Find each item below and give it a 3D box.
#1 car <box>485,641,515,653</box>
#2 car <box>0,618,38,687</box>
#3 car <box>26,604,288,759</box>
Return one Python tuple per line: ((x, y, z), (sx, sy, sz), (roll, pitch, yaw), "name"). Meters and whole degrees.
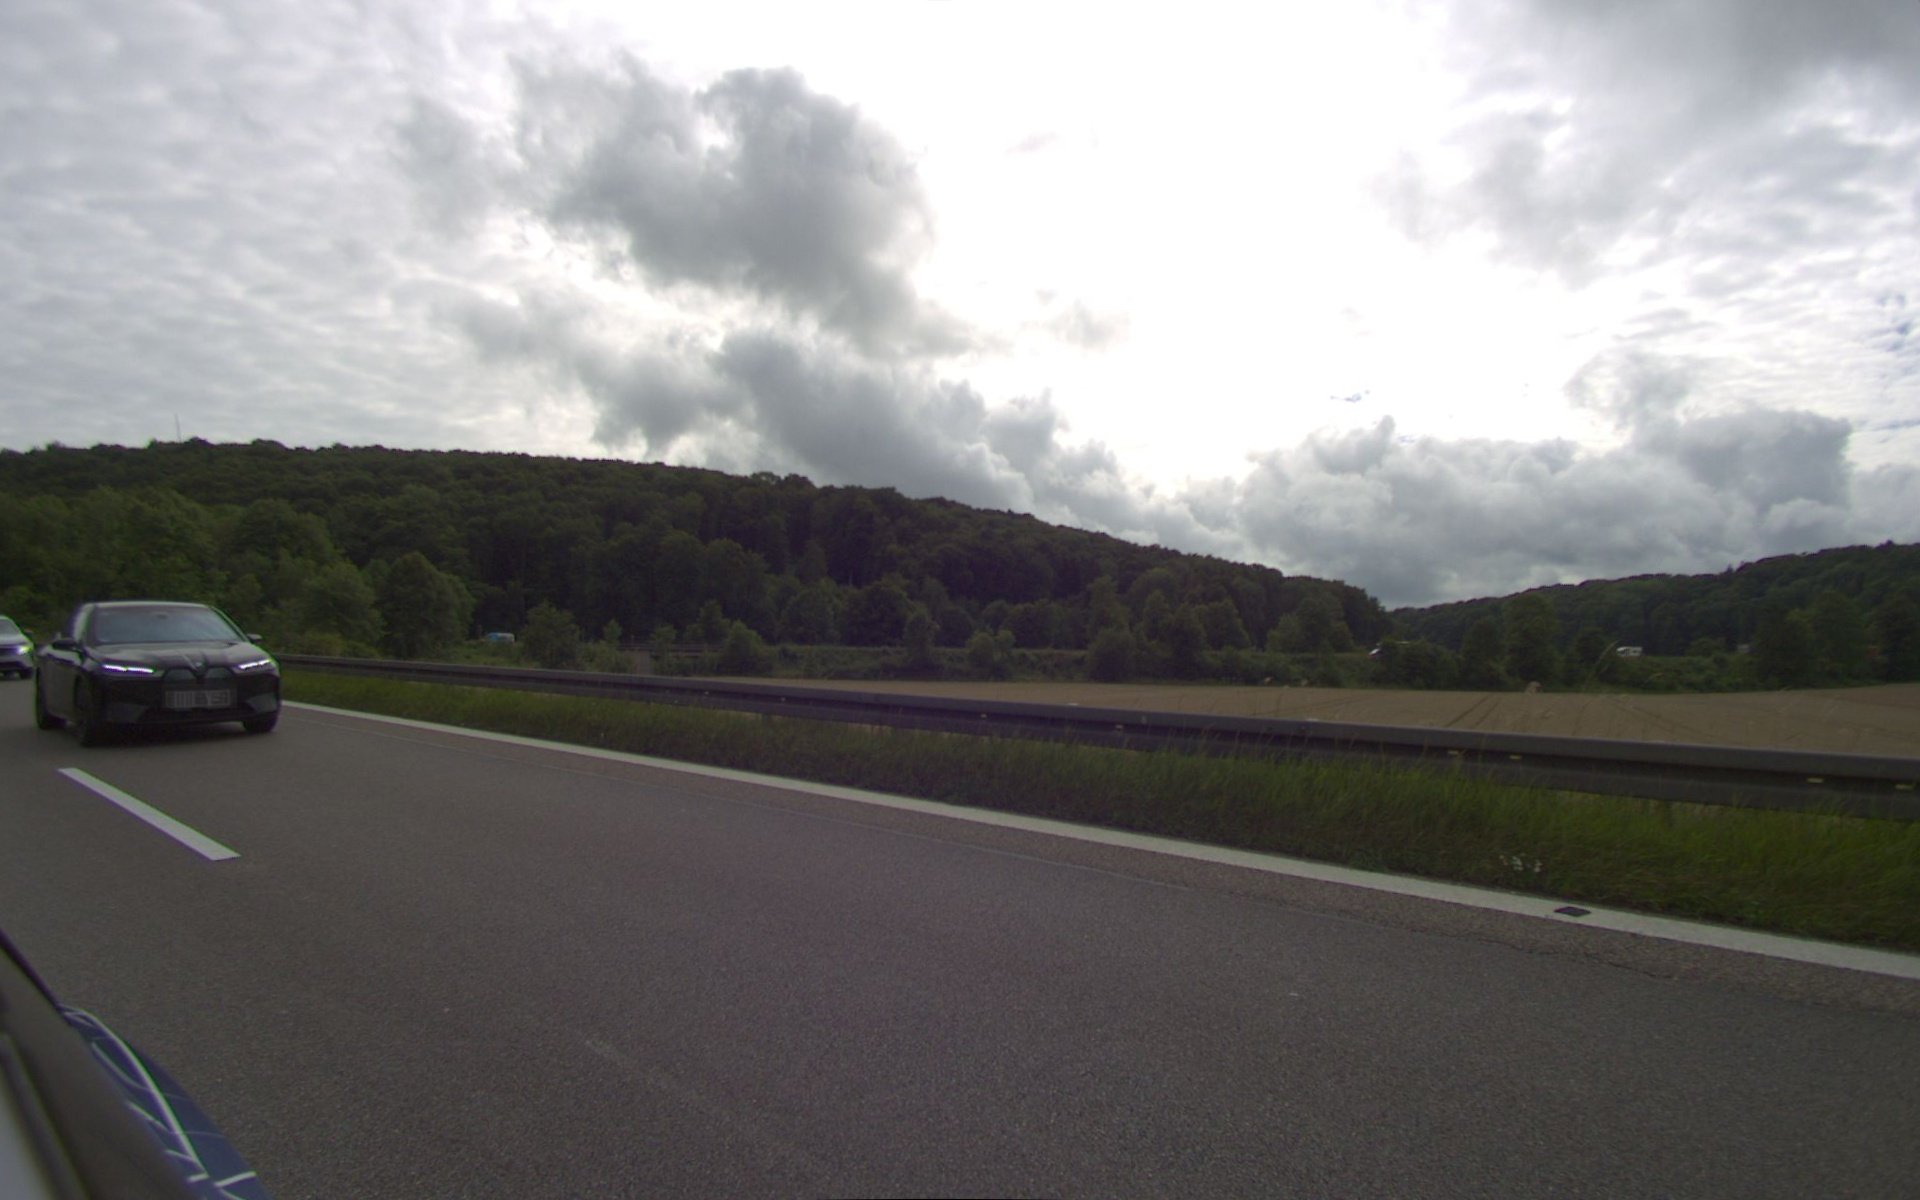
((-83.373, 8.488, 183.482), (4.392, 1.822, 2.001), (3, -5, -4), "car")
((-25.460, 1.302, 26.075), (4.412, 1.678, 1.973), (-1, -2, 41), "car")
((-10.579, 0.924, 13.216), (4.413, 1.678, 1.972), (-1, -1, 42), "car")
